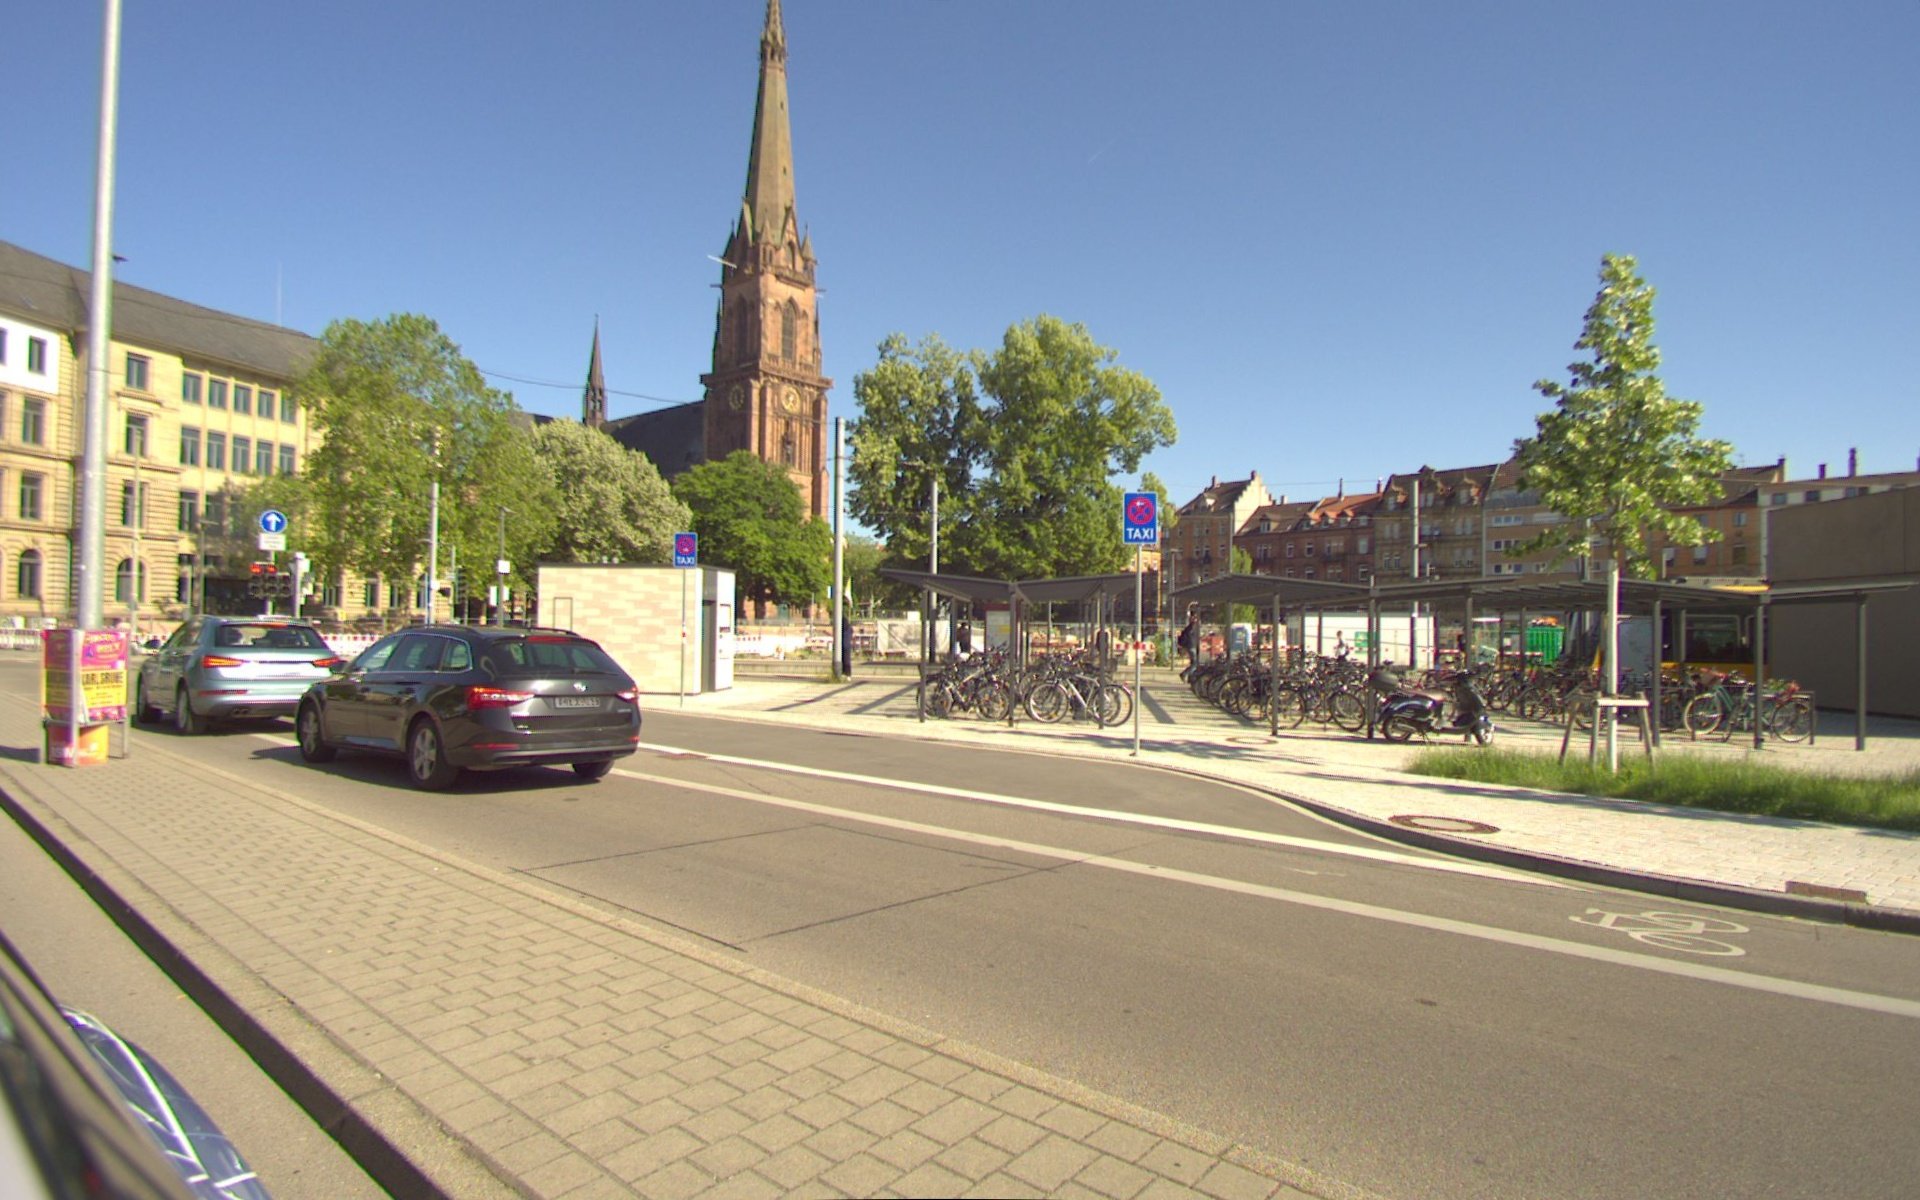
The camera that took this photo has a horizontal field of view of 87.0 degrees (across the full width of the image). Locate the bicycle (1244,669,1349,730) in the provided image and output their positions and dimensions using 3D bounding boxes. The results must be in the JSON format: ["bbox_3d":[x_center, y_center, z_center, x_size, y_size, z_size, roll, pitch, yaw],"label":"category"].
[{"bbox_3d":[5.793,1.709,17.462,1.661,0.980,0.406,1,0,3],"label":"bicycle"}]

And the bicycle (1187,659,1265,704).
[{"bbox_3d":[6.052,1.860,23.050,1.661,0.980,0.406,1,-5,3],"label":"bicycle"}]

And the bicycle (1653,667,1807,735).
[{"bbox_3d":[12.988,1.696,17.114,2.030,1.087,0.604,-1,0,7],"label":"bicycle"}]

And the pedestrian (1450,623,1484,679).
[{"bbox_3d":[17.737,1.760,35.438,0.793,1.931,0.769,0,-2,4],"label":"pedestrian"}]

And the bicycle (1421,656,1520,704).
[{"bbox_3d":[12.299,1.919,24.428,2.048,1.045,0.533,1,3,8],"label":"bicycle"}]

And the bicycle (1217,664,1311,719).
[{"bbox_3d":[5.813,1.737,19.374,1.661,0.980,0.406,1,0,3],"label":"bicycle"}]

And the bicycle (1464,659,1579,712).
[{"bbox_3d":[11.775,1.795,21.263,2.048,1.045,0.533,-1,2,8],"label":"bicycle"}]

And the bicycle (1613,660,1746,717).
[{"bbox_3d":[13.851,1.699,19.524,2.048,1.045,0.533,-1,0,8],"label":"bicycle"}]

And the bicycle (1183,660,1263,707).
[{"bbox_3d":[5.785,1.837,22.295,1.661,0.980,0.406,1,-5,3],"label":"bicycle"}]

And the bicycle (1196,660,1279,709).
[{"bbox_3d":[5.924,1.805,21.638,1.661,0.980,0.406,1,-5,3],"label":"bicycle"}]

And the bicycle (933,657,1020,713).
[{"bbox_3d":[0.327,1.664,19.943,1.663,1.006,0.406,2,0,8],"label":"bicycle"}]

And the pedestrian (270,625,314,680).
[{"bbox_3d":[-20.822,1.632,31.547,0.625,1.680,0.928,0,-2,15],"label":"pedestrian"}]

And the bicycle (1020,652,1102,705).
[{"bbox_3d":[2.192,1.694,22.027,1.755,1.083,0.406,1,0,6],"label":"bicycle"}]

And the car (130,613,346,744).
[{"bbox_3d":[-10.404,1.041,14.463,4.259,1.594,1.767,-2,-4,45],"label":"car"}]

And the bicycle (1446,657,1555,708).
[{"bbox_3d":[11.865,1.801,22.254,2.048,1.045,0.533,-1,2,8],"label":"bicycle"}]

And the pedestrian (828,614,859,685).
[{"bbox_3d":[-3.167,1.328,27.377,0.690,1.874,0.622,1,-2,-19],"label":"pedestrian"}]

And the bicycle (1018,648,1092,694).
[{"bbox_3d":[2.313,1.723,24.676,1.755,1.083,0.406,1,0,6],"label":"bicycle"}]

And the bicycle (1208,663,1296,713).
[{"bbox_3d":[5.924,1.785,20.563,1.661,0.980,0.406,1,-5,3],"label":"bicycle"}]

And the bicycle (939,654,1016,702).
[{"bbox_3d":[0.384,1.705,22.283,1.663,1.006,0.406,0,0,8],"label":"bicycle"}]

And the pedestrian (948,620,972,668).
[{"bbox_3d":[-0.009,1.699,39.229,0.610,1.874,0.703,2,-2,-39],"label":"pedestrian"}]

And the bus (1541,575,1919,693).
[{"bbox_3d":[24.130,0.942,28.398,13.462,3.095,2.859,0,-2,6],"label":"bus"}]

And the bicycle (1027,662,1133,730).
[{"bbox_3d":[2.021,1.606,17.091,1.753,1.083,0.406,1,-3,6],"label":"bicycle"}]

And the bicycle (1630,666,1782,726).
[{"bbox_3d":[13.477,1.729,18.328,2.117,1.005,0.690,-1,0,7],"label":"bicycle"}]

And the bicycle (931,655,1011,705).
[{"bbox_3d":[0.228,1.676,21.403,1.663,1.006,0.406,0,0,8],"label":"bicycle"}]

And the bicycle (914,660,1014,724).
[{"bbox_3d":[0.066,1.574,17.381,1.663,1.006,0.406,2,0,8],"label":"bicycle"}]

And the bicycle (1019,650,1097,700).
[{"bbox_3d":[2.271,1.731,23.497,1.755,1.083,0.406,1,0,6],"label":"bicycle"}]

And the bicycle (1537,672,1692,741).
[{"bbox_3d":[10.571,1.711,16.388,2.048,1.045,0.533,-1,0,8],"label":"bicycle"}]

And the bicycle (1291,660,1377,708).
[{"bbox_3d":[7.987,1.789,21.622,1.661,0.980,0.406,-1,0,3],"label":"bicycle"}]

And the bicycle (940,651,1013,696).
[{"bbox_3d":[0.392,1.701,23.661,1.663,1.006,0.406,0,0,8],"label":"bicycle"}]

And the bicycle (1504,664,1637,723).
[{"bbox_3d":[11.321,1.733,18.811,2.048,1.045,0.533,-1,0,8],"label":"bicycle"}]

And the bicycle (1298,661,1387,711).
[{"bbox_3d":[7.860,1.761,20.824,1.661,0.980,0.406,-1,0,3],"label":"bicycle"}]

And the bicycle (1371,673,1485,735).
[{"bbox_3d":[7.767,1.723,16.820,1.661,0.980,0.406,-1,0,3],"label":"bicycle"}]

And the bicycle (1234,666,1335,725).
[{"bbox_3d":[5.814,1.709,18.187,1.661,0.980,0.406,1,0,3],"label":"bicycle"}]

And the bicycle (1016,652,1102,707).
[{"bbox_3d":[2.052,1.642,20.972,1.755,1.083,0.406,1,0,6],"label":"bicycle"}]

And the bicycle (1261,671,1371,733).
[{"bbox_3d":[5.933,1.699,16.888,1.661,0.980,0.406,-1,0,3],"label":"bicycle"}]

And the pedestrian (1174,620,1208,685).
[{"bbox_3d":[6.289,1.422,27.571,0.823,1.740,0.620,0,-2,4],"label":"pedestrian"}]

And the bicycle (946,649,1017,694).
[{"bbox_3d":[0.516,1.702,24.186,1.663,1.006,0.406,0,0,8],"label":"bicycle"}]

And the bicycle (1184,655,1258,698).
[{"bbox_3d":[6.255,1.836,24.310,1.661,0.980,0.406,1,-5,3],"label":"bicycle"}]

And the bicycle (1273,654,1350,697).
[{"bbox_3d":[8.290,1.785,23.913,1.661,0.980,0.406,-1,0,3],"label":"bicycle"}]

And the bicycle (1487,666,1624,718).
[{"bbox_3d":[11.613,1.798,19.789,2.208,0.951,0.685,-1,0,7],"label":"bicycle"}]

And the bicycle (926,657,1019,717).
[{"bbox_3d":[0.230,1.597,18.600,1.663,1.006,0.406,2,0,8],"label":"bicycle"}]

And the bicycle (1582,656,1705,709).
[{"bbox_3d":[14.077,1.696,20.876,2.048,1.045,0.533,-1,0,8],"label":"bicycle"}]

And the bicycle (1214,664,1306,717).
[{"bbox_3d":[5.900,1.781,19.957,1.661,0.980,0.406,1,0,3],"label":"bicycle"}]

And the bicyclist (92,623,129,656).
[{"bbox_3d":[-39.797,1.839,47.418,1.125,1.552,0.684,1,-2,-14],"label":"bicyclist"}]

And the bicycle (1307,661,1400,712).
[{"bbox_3d":[7.856,1.730,20.227,1.661,0.980,0.406,-1,0,3],"label":"bicycle"}]

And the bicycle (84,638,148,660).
[{"bbox_3d":[-39.551,2.307,47.470,2.205,0.988,0.696,1,-2,-14],"label":"bicycle"}]

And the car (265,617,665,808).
[{"bbox_3d":[-5.177,0.988,10.270,4.780,1.516,1.795,-1,-4,40],"label":"car"}]

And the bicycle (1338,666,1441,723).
[{"bbox_3d":[7.822,1.722,18.458,1.661,0.980,0.406,-1,0,3],"label":"bicycle"}]

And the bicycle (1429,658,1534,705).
[{"bbox_3d":[12.030,1.879,23.372,2.048,1.045,0.533,-1,-4,8],"label":"bicycle"}]

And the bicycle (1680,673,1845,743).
[{"bbox_3d":[12.766,1.715,16.136,2.048,1.045,0.533,-1,0,8],"label":"bicycle"}]

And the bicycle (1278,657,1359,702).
[{"bbox_3d":[8.072,1.788,22.837,1.661,0.980,0.406,-1,0,3],"label":"bicycle"}]

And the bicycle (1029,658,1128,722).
[{"bbox_3d":[2.138,1.617,18.336,1.753,1.083,0.406,1,0,6],"label":"bicycle"}]

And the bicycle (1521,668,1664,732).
[{"bbox_3d":[10.987,1.738,17.635,2.048,1.045,0.533,-1,0,8],"label":"bicycle"}]

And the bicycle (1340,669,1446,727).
[{"bbox_3d":[7.642,1.725,17.891,1.661,0.980,0.406,-1,0,3],"label":"bicycle"}]

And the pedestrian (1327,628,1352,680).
[{"bbox_3d":[14.889,2.112,39.756,0.793,2.029,0.535,0,-2,4],"label":"pedestrian"}]

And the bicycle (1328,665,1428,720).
[{"bbox_3d":[7.841,1.731,19.011,1.661,0.980,0.406,-1,0,3],"label":"bicycle"}]

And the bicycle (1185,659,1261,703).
[{"bbox_3d":[6.136,1.881,23.623,1.661,0.980,0.406,1,-5,3],"label":"bicycle"}]

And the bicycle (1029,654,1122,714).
[{"bbox_3d":[2.234,1.620,19.581,1.755,1.083,0.406,1,0,6],"label":"bicycle"}]

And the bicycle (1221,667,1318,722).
[{"bbox_3d":[5.727,1.750,18.767,1.661,0.980,0.406,-1,0,3],"label":"bicycle"}]

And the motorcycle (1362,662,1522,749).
[{"bbox_3d":[7.192,1.570,15.158,2.059,1.228,0.569,-1,-2,3],"label":"motorcycle"}]
